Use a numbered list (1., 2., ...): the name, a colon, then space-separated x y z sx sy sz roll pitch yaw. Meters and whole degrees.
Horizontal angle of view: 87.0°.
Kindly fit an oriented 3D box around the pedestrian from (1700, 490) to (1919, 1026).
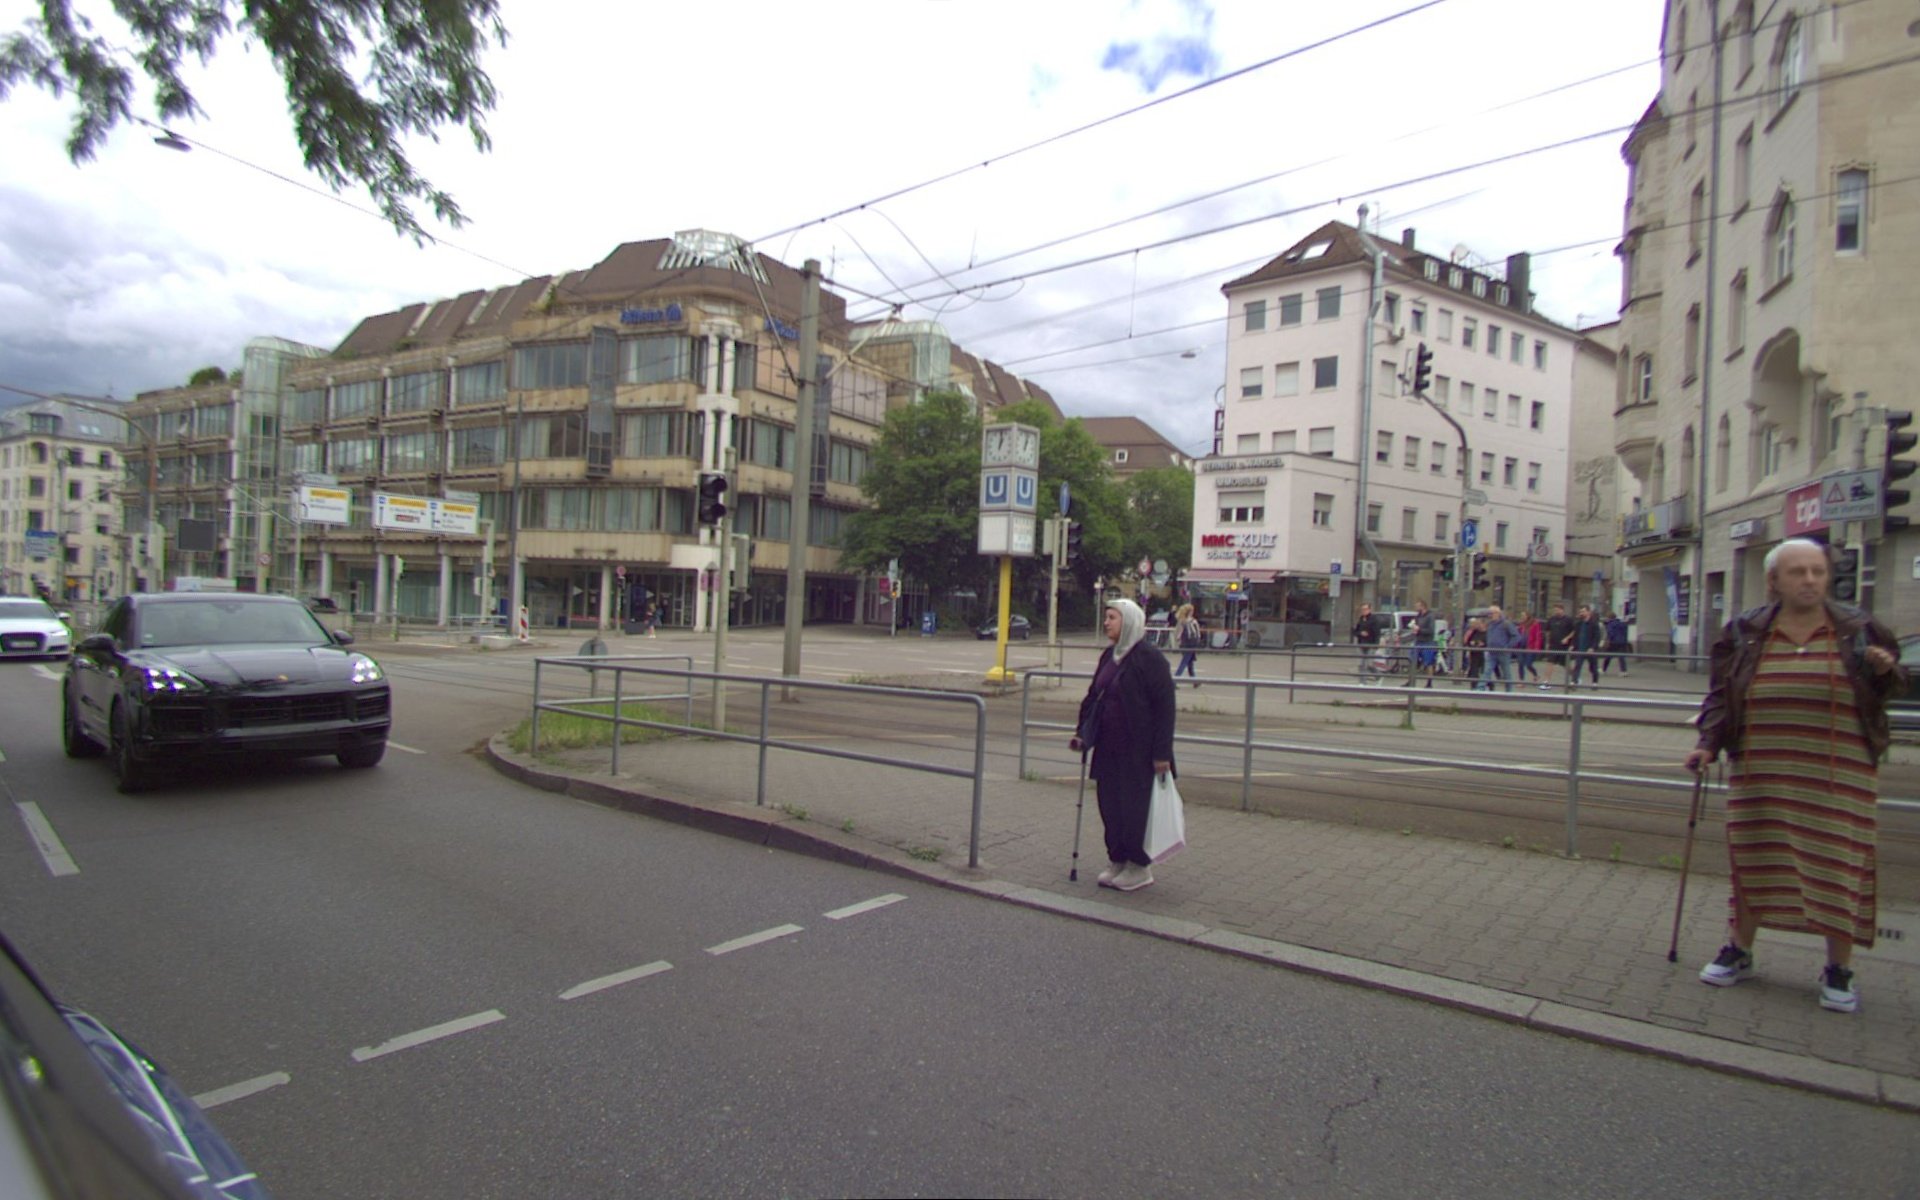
1. pedestrian: 3.149 0.514 3.662 0.711 1.724 0.678 -1 -2 40

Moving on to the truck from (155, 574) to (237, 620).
1. truck: -55.587 -0.227 73.542 7.353 3.099 2.248 1 -3 33

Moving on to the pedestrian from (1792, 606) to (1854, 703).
1. pedestrian: 16.373 1.016 19.205 0.568 1.793 0.821 2 -1 -40

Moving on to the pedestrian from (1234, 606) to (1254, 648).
1. pedestrian: 12.282 1.175 43.774 0.503 1.793 0.600 2 -1 -38

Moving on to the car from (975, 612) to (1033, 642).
1. car: 2.499 1.489 56.553 1.939 1.542 3.967 1 0 24

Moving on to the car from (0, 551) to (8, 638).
1. car: -33.590 -0.206 33.511 5.935 2.780 2.253 1 0 40

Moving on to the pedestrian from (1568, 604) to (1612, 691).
1. pedestrian: 13.114 0.977 21.074 0.502 1.793 0.579 1 -1 -19

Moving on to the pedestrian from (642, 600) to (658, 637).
1. pedestrian: -15.140 0.925 49.468 0.577 1.793 0.504 0 -1 42

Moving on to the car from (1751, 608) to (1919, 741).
1. car: 12.634 0.937 12.826 3.999 1.586 1.888 1 0 42

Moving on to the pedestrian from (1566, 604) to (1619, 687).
1. pedestrian: 13.162 0.941 21.063 0.664 1.690 0.693 2 -1 -32

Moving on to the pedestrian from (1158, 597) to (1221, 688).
1. pedestrian: 4.457 0.822 19.716 0.862 1.718 0.815 1 -1 -21

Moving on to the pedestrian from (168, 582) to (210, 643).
1. pedestrian: -22.081 0.358 28.981 0.772 1.734 0.784 0 -1 40

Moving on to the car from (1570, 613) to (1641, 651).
1. car: 31.148 1.512 48.819 3.720 1.759 1.641 1 -1 -36

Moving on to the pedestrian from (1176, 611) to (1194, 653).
1. pedestrian: 9.852 1.385 44.268 0.503 1.793 0.578 2 -1 -38

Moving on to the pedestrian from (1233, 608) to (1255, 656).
1. pedestrian: 10.681 1.213 38.075 0.567 1.793 0.513 1 -1 -24

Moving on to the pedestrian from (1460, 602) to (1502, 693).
1. pedestrian: 10.509 0.941 20.412 0.503 1.793 0.578 2 -1 -36

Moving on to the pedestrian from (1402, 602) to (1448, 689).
1. pedestrian: 9.841 0.951 21.429 0.700 1.793 0.597 2 -1 -34

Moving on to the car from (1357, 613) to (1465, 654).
1. car: 18.349 1.334 41.119 4.437 1.572 1.760 1 0 -31

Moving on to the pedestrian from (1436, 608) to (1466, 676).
1. pedestrian: 11.893 1.008 24.519 0.511 1.594 0.569 0 -1 43

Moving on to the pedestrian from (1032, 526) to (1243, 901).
1. pedestrian: 0.909 0.531 5.193 0.871 1.724 0.629 -1 -2 40

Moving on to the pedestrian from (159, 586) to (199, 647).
1. pedestrian: -22.759 0.476 29.495 0.637 1.734 0.757 0 -1 39

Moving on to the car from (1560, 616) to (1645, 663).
1. car: 26.173 1.620 41.204 3.720 1.759 1.641 4 -3 -36

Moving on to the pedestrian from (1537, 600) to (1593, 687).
1. pedestrian: 12.879 0.917 21.545 0.777 1.793 0.670 1 -1 -19

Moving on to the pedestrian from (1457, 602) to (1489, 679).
1. pedestrian: 12.187 0.952 24.027 0.512 1.793 0.568 0 -1 45

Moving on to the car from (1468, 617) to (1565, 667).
1. car: 20.410 1.545 37.063 3.720 1.697 1.641 4 -3 -36

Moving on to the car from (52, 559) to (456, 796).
1. car: -7.040 0.589 9.808 5.351 1.688 2.060 -1 -1 42

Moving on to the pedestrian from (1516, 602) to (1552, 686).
1. pedestrian: 12.571 0.954 22.156 0.577 1.793 0.504 0 -1 42

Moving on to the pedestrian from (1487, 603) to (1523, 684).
1. pedestrian: 12.241 0.971 22.735 0.504 1.793 0.577 2 -1 -43

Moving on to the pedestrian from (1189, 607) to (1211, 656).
1. pedestrian: 8.838 1.149 37.211 0.503 1.793 0.578 2 -1 -38

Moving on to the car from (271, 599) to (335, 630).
1. car: -41.361 0.890 63.688 4.769 1.772 1.660 1 0 34

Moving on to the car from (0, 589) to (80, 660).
1. car: -22.634 0.529 24.010 3.995 1.542 1.926 1 0 38
